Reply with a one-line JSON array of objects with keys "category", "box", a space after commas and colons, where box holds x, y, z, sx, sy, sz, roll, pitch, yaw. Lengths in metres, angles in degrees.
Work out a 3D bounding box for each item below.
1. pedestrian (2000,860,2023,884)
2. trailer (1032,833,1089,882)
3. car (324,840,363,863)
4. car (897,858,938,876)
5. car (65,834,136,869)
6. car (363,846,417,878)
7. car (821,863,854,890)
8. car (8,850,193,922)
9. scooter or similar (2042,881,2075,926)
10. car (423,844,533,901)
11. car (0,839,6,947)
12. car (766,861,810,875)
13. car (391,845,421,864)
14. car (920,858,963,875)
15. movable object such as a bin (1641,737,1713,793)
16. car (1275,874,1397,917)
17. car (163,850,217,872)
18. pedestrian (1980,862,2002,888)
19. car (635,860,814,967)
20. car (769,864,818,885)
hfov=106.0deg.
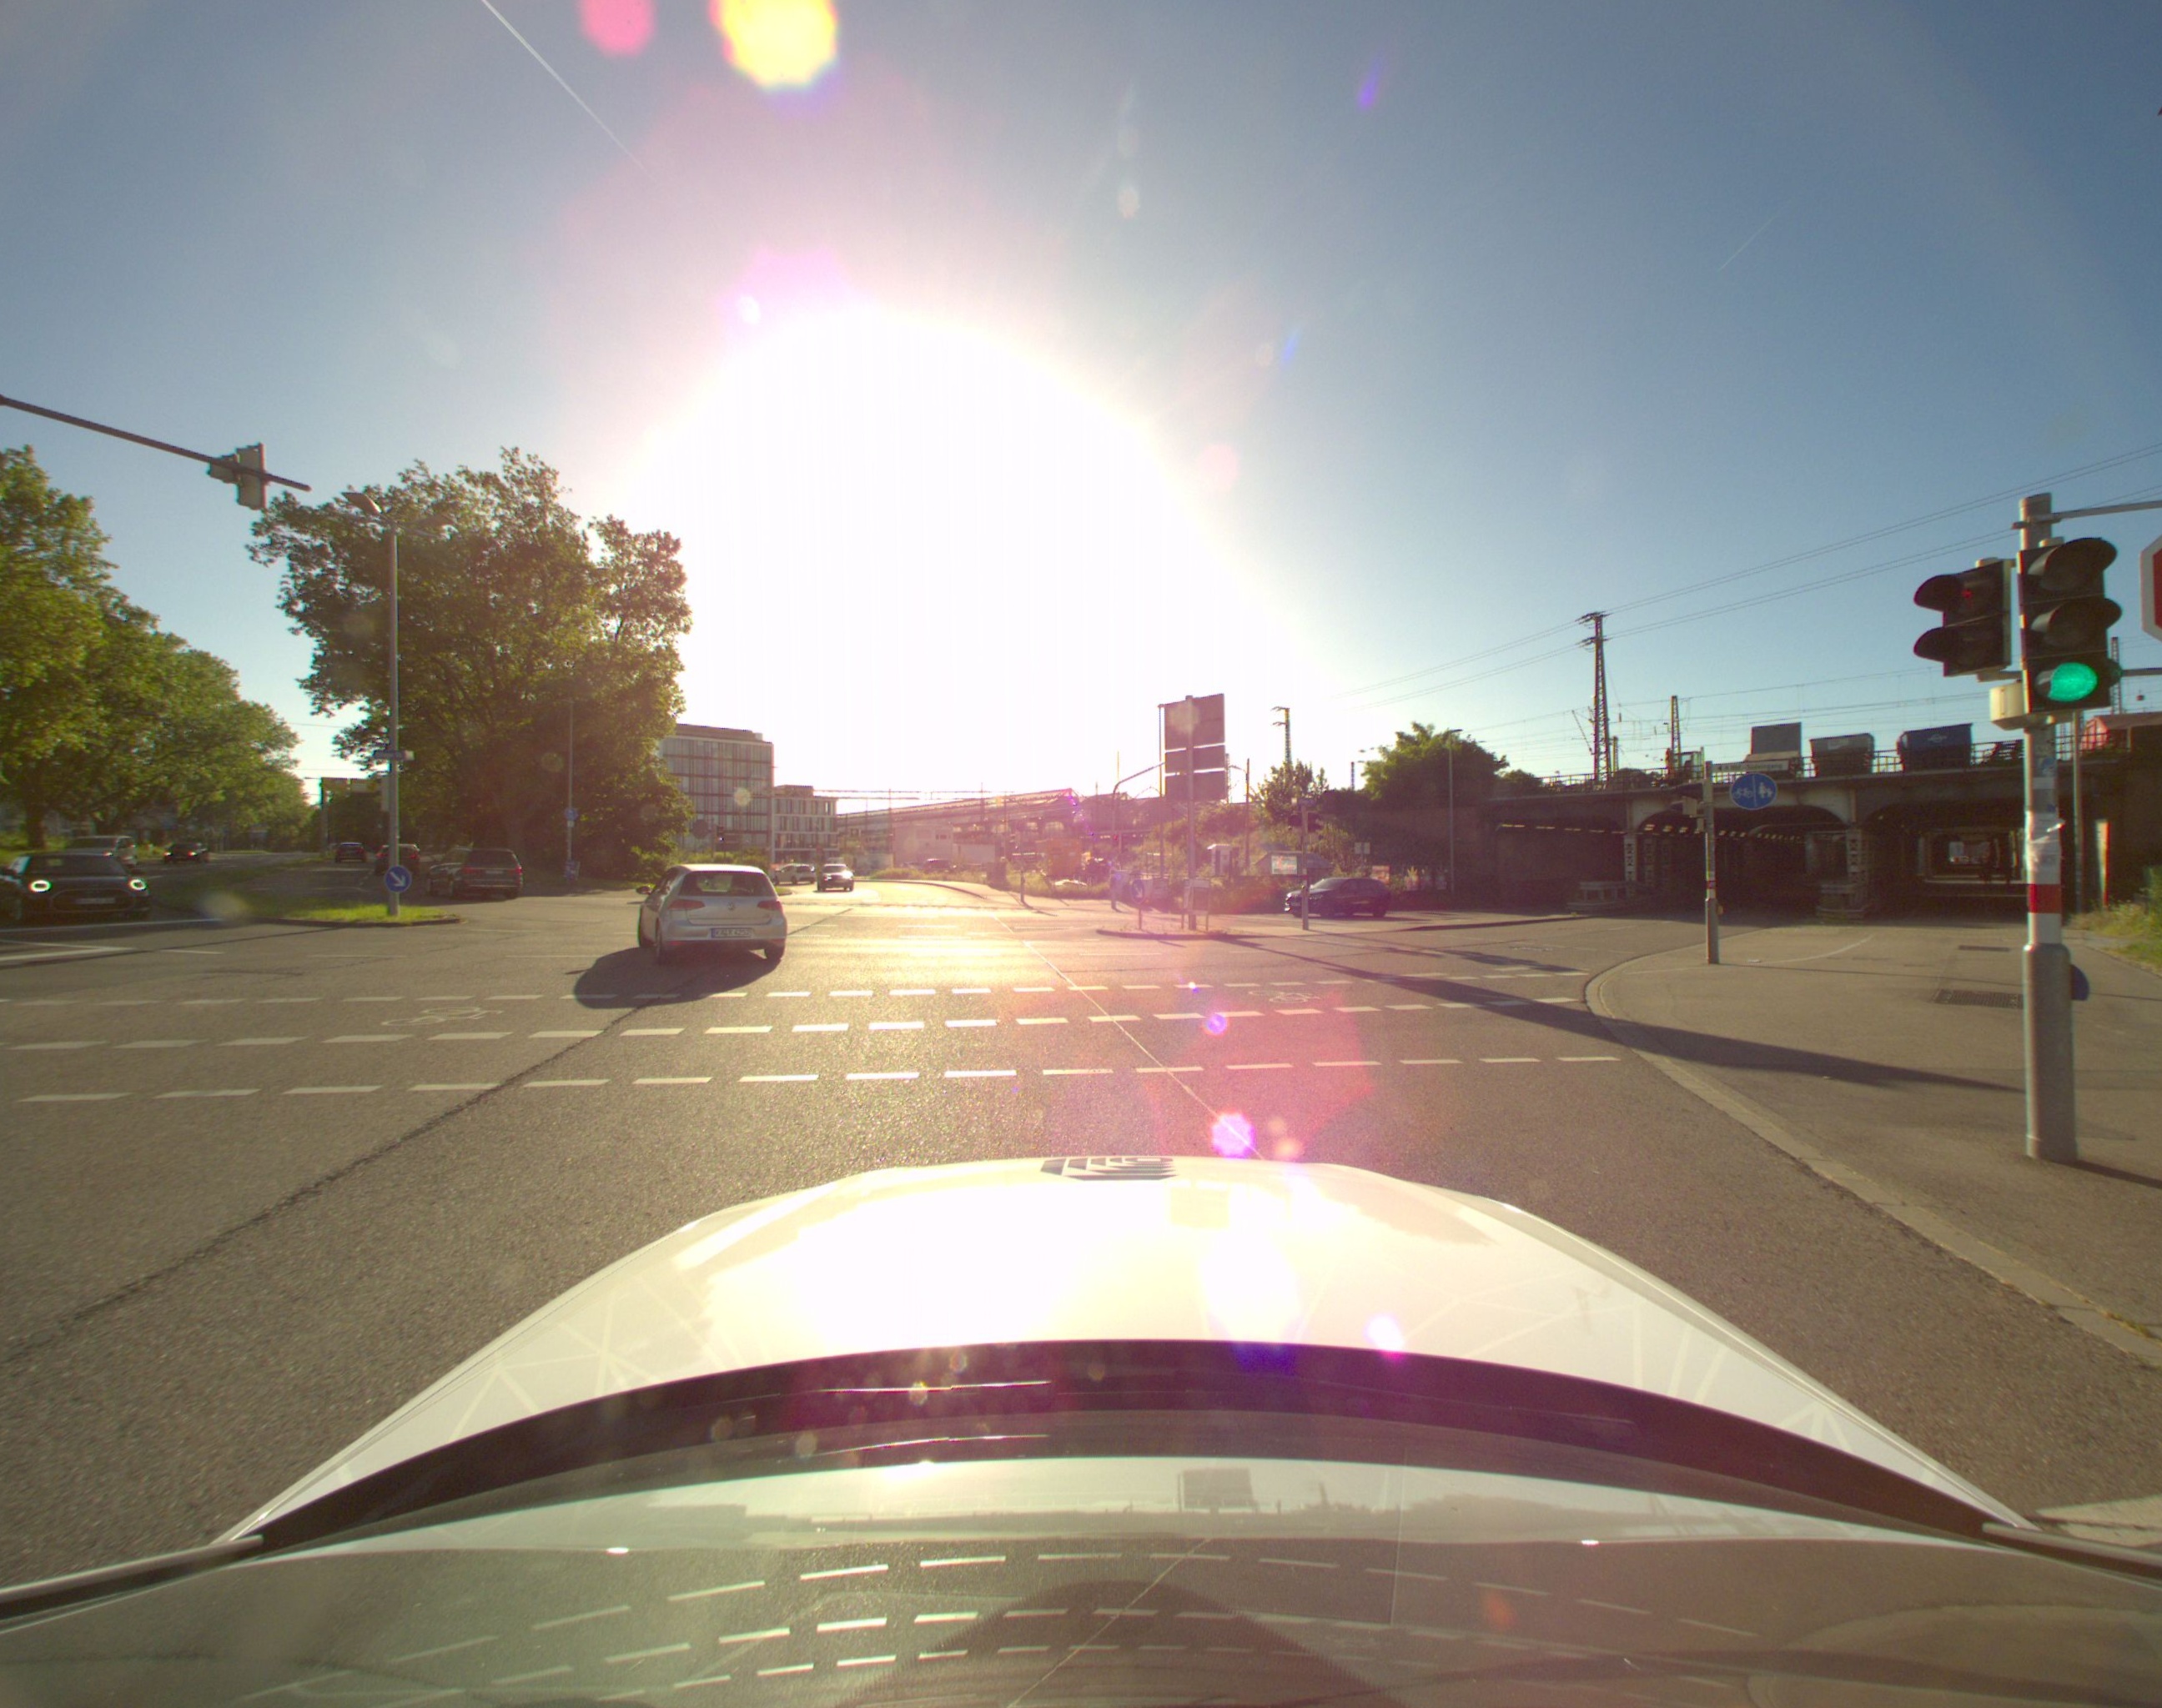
[{"category": "pedestrian", "box": [64.775, 1.266, 56.705, 0.891, 1.656, 0.908, 0, -3, -45]}, {"category": "trailer", "box": [-1.589, 0.299, 59.042, 2.997, 3.292, 6.642, 1, -1, -11]}, {"category": "car", "box": [-57.786, -0.180, 63.867, 1.868, 1.743, 4.219, 1, 0, -37]}, {"category": "car", "box": [-17.322, 1.357, 86.342, 4.014, 1.788, 1.638, 2, -1, -32]}, {"category": "car", "box": [-52.121, -0.131, 43.375, 1.870, 1.743, 4.214, 1, 0, -43]}, {"category": "car", "box": [-38.204, 0.431, 44.981, 1.960, 1.713, 4.149, 1, 0, -44]}, {"category": "car", "box": [-14.306, 1.295, 47.772, 1.753, 1.476, 3.976, 1, 0, -18]}, {"category": "car", "box": [-21.681, 0.654, 17.996, 3.886, 1.427, 1.920, 0, -1, 30]}, {"category": "scooter or similar", "box": [27.133, 1.368, 22.612, 1.298, 1.197, 0.532, 2, -1, -42]}, {"category": "car", "box": [-21.815, 0.614, 29.400, 4.751, 1.887, 2.133, 0, -1, 40]}, {"category": "car", "box": [-18.656, 0.553, 12.114, 4.075, 1.636, 1.929, 1, -1, 18]}, {"category": "car", "box": [-42.582, 2.050, 118.630, 1.893, 1.845, 5.756, 1, -1, 44]}, {"category": "car", "box": [-62.180, 0.031, 75.040, 1.870, 1.650, 4.214, 1, 0, -43]}, {"category": "car", "box": [-14.295, 1.280, 83.697, 4.014, 1.706, 1.599, 2, -1, -32]}, {"category": "movable object such as a bin", "box": [30.466, -4.444, 41.584, 4.855, 2.226, 1.976, 2, -1, -41]}, {"category": "car", "box": [9.749, 1.543, 31.095, 4.397, 1.518, 1.939, 1, -2, -28]}, {"category": "car", "box": [-65.588, 0.505, 60.020, 1.868, 1.599, 4.277, 1, -1, -36]}, {"category": "pedestrian", "box": [64.134, 1.475, 57.403, 0.928, 1.835, 0.872, 0, -3, -45]}, {"category": "car", "box": [-5.856, 0.826, 13.103, 1.984, 1.427, 3.895, 1, -1, -34]}, {"category": "car", "box": [-22.268, 1.563, 63.020, 3.948, 1.476, 1.765, 0, 0, 38]}]
